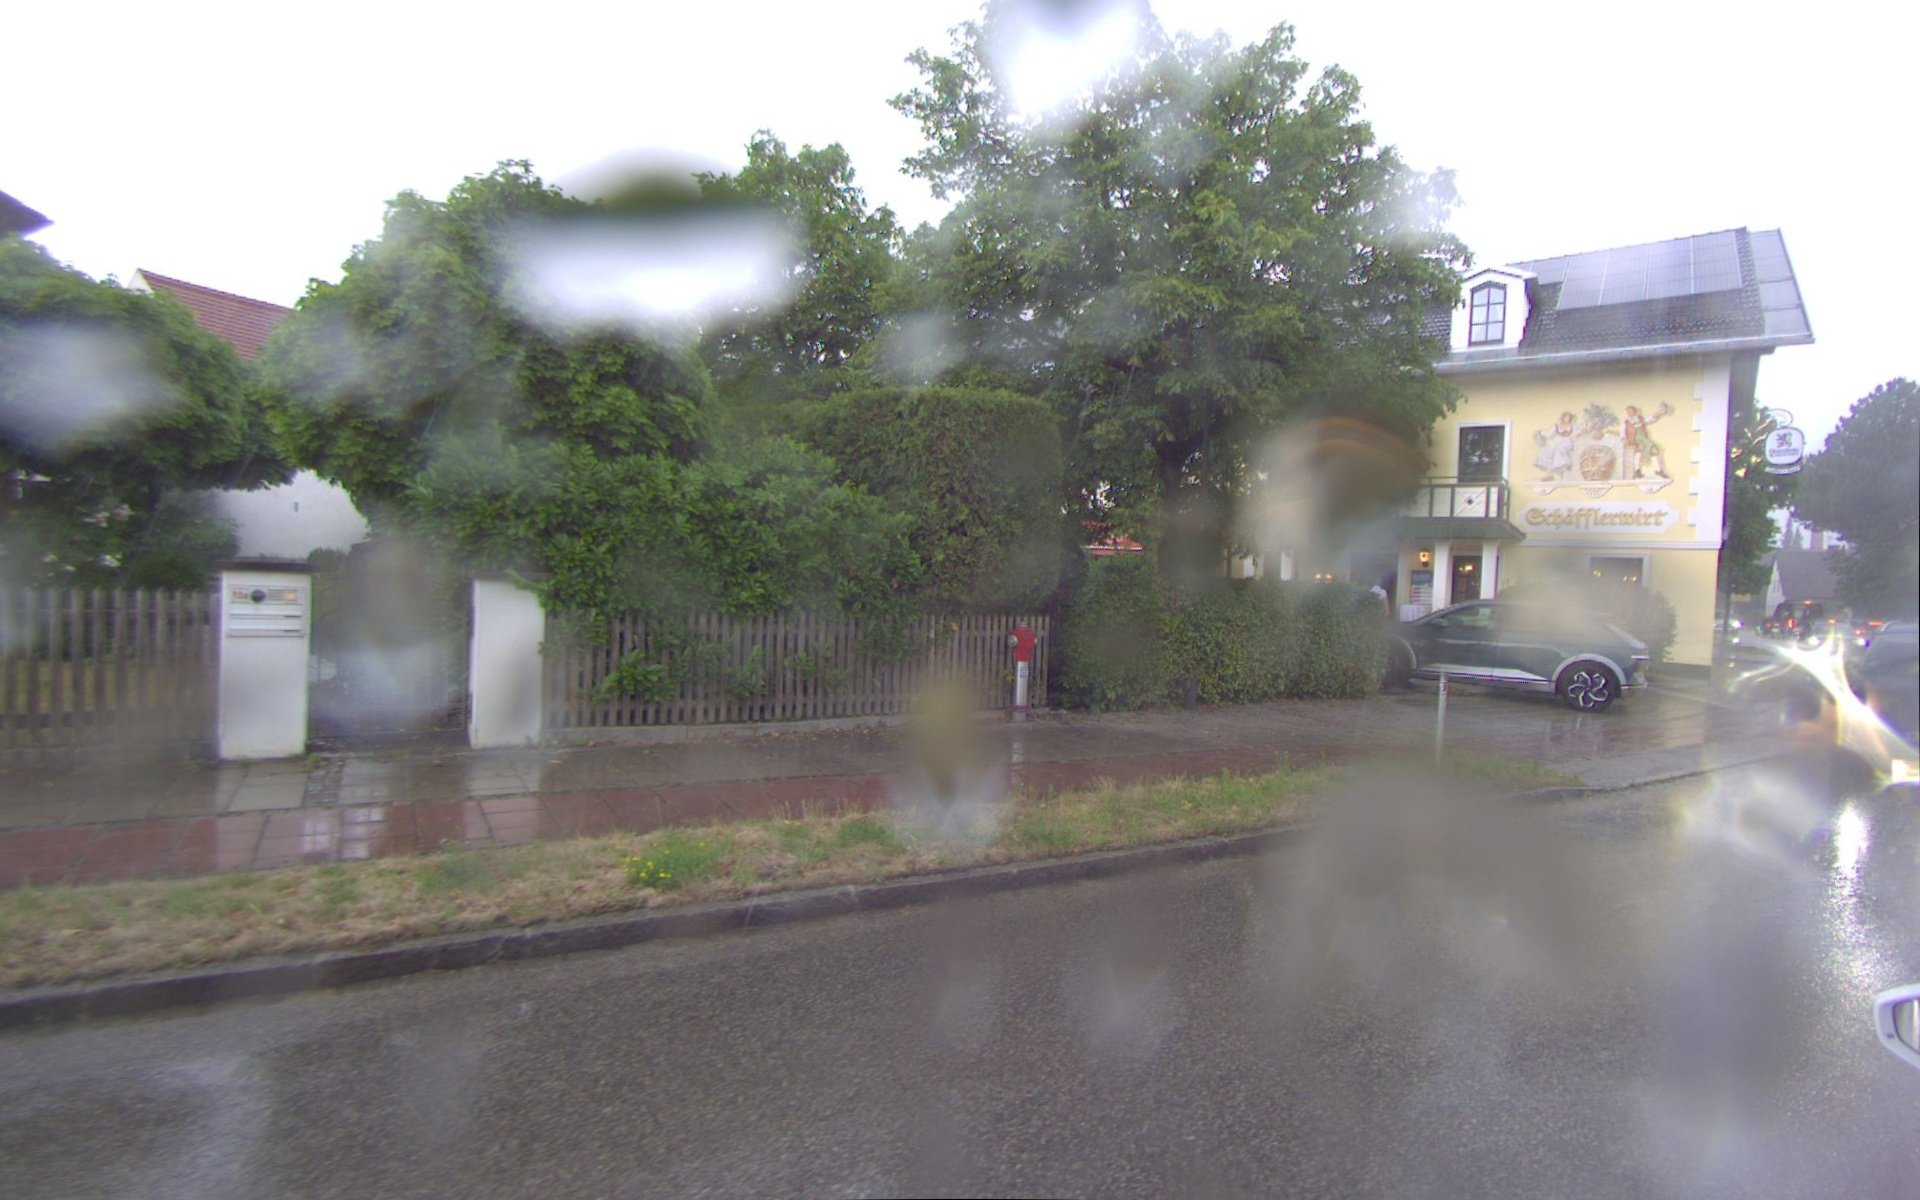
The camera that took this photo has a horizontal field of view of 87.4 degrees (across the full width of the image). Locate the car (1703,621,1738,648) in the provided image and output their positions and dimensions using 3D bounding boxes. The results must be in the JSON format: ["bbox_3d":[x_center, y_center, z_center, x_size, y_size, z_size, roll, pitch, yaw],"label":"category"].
[{"bbox_3d":[59.210,2.714,78.245,1.825,1.997,4.690,0,-1,33],"label":"car"}]

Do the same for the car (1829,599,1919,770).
[{"bbox_3d":[11.455,0.914,11.761,1.900,1.767,4.170,0,-1,41],"label":"car"}]

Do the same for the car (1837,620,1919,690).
[{"bbox_3d":[24.548,1.413,26.365,1.729,1.699,3.990,0,-1,33],"label":"car"}]

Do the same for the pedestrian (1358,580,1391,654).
[{"bbox_3d":[9.938,0.403,24.097,0.484,1.712,0.552,6,4,38],"label":"pedestrian"}]

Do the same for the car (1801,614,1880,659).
[{"bbox_3d":[34.207,1.398,39.101,1.563,1.631,3.533,1,-1,29],"label":"car"}]

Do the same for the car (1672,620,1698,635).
[{"bbox_3d":[71.841,2.741,99.572,1.836,1.377,4.472,0,0,32],"label":"car"}]

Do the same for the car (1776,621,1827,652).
[{"bbox_3d":[59.391,2.559,70.999,2.139,1.925,4.999,3,2,34],"label":"car"}]

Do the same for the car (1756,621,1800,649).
[{"bbox_3d":[65.087,2.736,80.008,2.139,1.925,4.999,3,2,34],"label":"car"}]

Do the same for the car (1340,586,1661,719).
[{"bbox_3d":[8.903,0.753,16.795,4.413,1.589,1.834,6,5,33],"label":"car"}]

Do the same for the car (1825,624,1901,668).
[{"bbox_3d":[46.640,2.319,51.976,2.139,1.925,4.999,3,2,34],"label":"car"}]

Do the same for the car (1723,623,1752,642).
[{"bbox_3d":[88.564,3.636,114.486,2.139,1.925,4.999,3,2,34],"label":"car"}]
